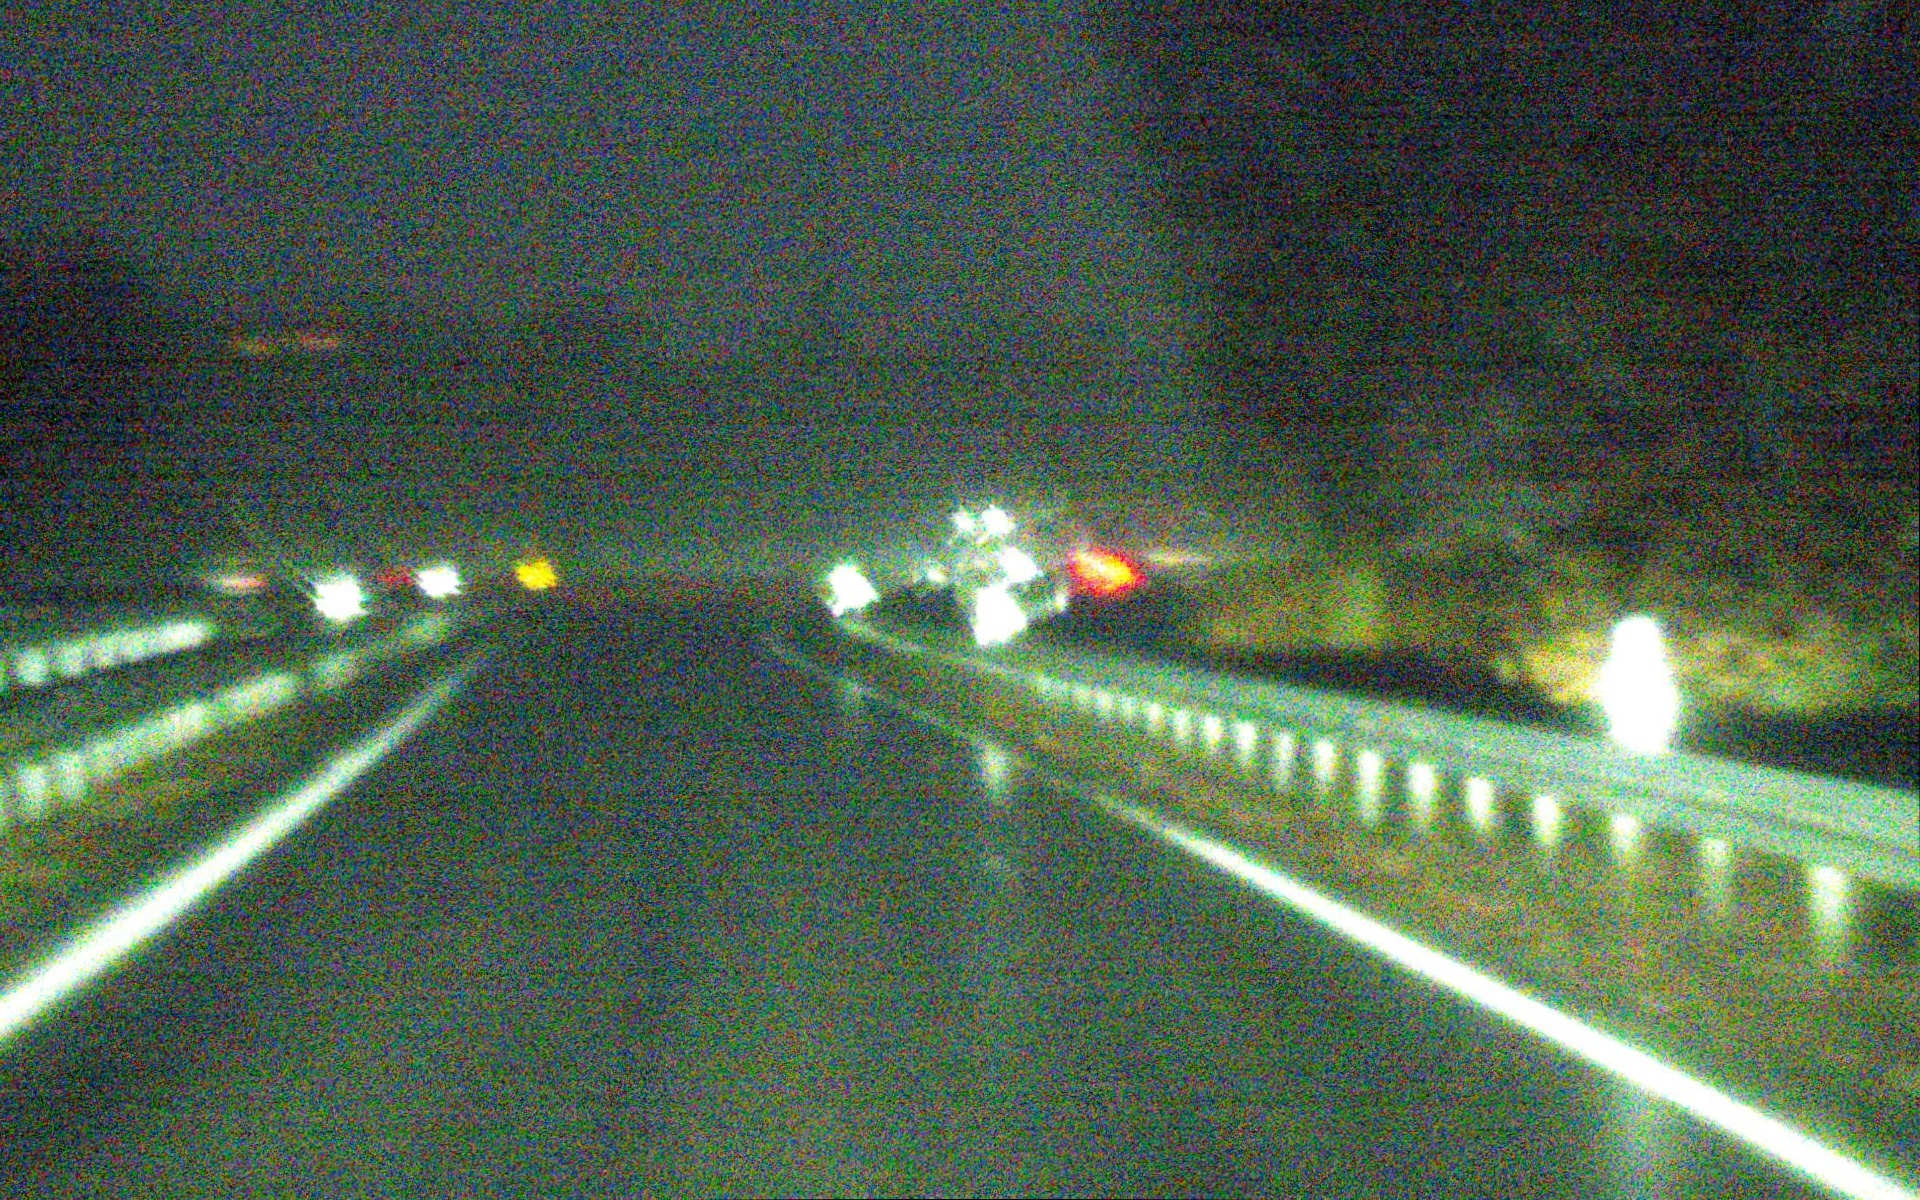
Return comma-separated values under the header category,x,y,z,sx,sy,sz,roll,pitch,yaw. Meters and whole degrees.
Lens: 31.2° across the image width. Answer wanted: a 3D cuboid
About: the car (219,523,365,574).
category,x,y,z,sx,sy,sz,roll,pitch,yaw
car,-20.598,-1.586,106.041,1.999,1.514,3.990,3,2,44
